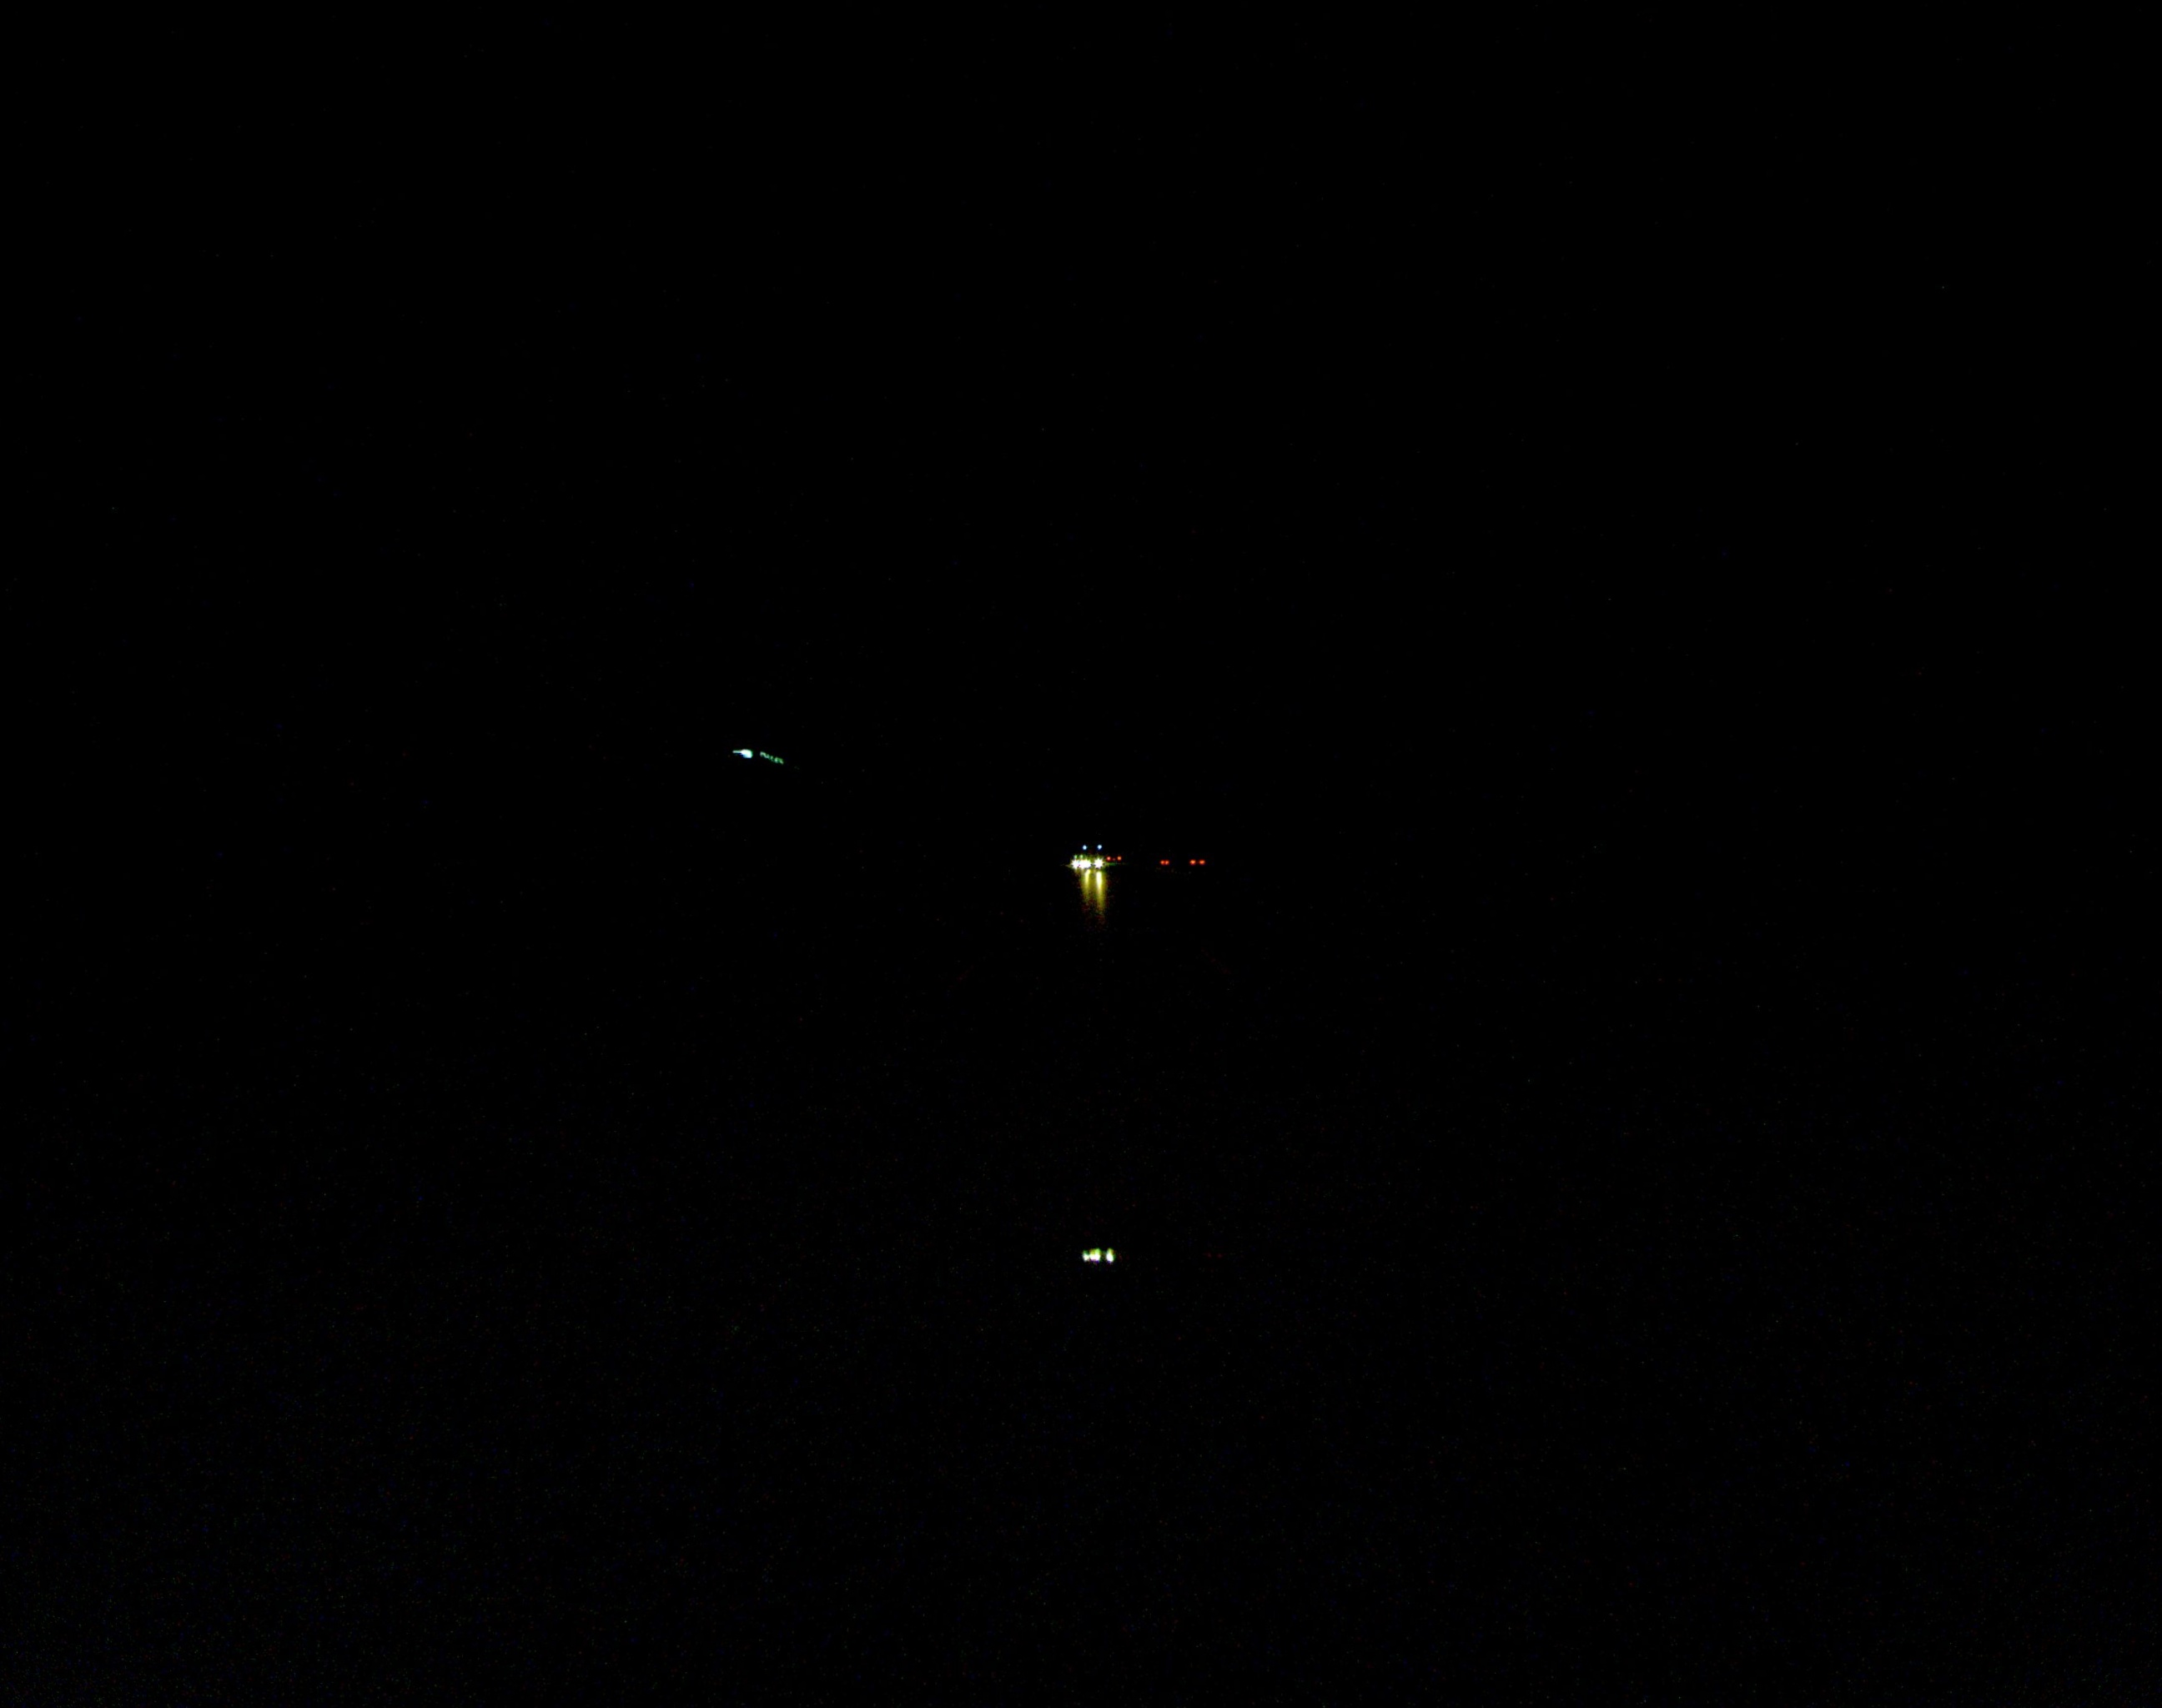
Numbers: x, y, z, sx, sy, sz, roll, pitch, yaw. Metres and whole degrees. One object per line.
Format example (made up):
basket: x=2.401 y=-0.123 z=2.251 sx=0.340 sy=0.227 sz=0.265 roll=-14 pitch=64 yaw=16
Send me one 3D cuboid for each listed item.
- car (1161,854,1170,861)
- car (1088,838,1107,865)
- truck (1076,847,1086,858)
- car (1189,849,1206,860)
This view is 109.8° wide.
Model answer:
car: x=22.884 y=0.860 z=206.494 sx=1.908 sy=1.625 sz=5.045 roll=-4 pitch=1 yaw=1
car: x=2.079 y=-0.292 z=96.364 sx=2.255 sy=3.205 sz=6.878 roll=-2 pitch=1 yaw=1
truck: x=-0.038 y=-0.403 z=255.407 sx=3.042 sy=3.726 sz=7.560 roll=-1 pitch=0 yaw=1
car: x=17.602 y=0.145 z=115.229 sx=1.908 sy=1.608 sz=4.403 roll=-1 pitch=0 yaw=-1
